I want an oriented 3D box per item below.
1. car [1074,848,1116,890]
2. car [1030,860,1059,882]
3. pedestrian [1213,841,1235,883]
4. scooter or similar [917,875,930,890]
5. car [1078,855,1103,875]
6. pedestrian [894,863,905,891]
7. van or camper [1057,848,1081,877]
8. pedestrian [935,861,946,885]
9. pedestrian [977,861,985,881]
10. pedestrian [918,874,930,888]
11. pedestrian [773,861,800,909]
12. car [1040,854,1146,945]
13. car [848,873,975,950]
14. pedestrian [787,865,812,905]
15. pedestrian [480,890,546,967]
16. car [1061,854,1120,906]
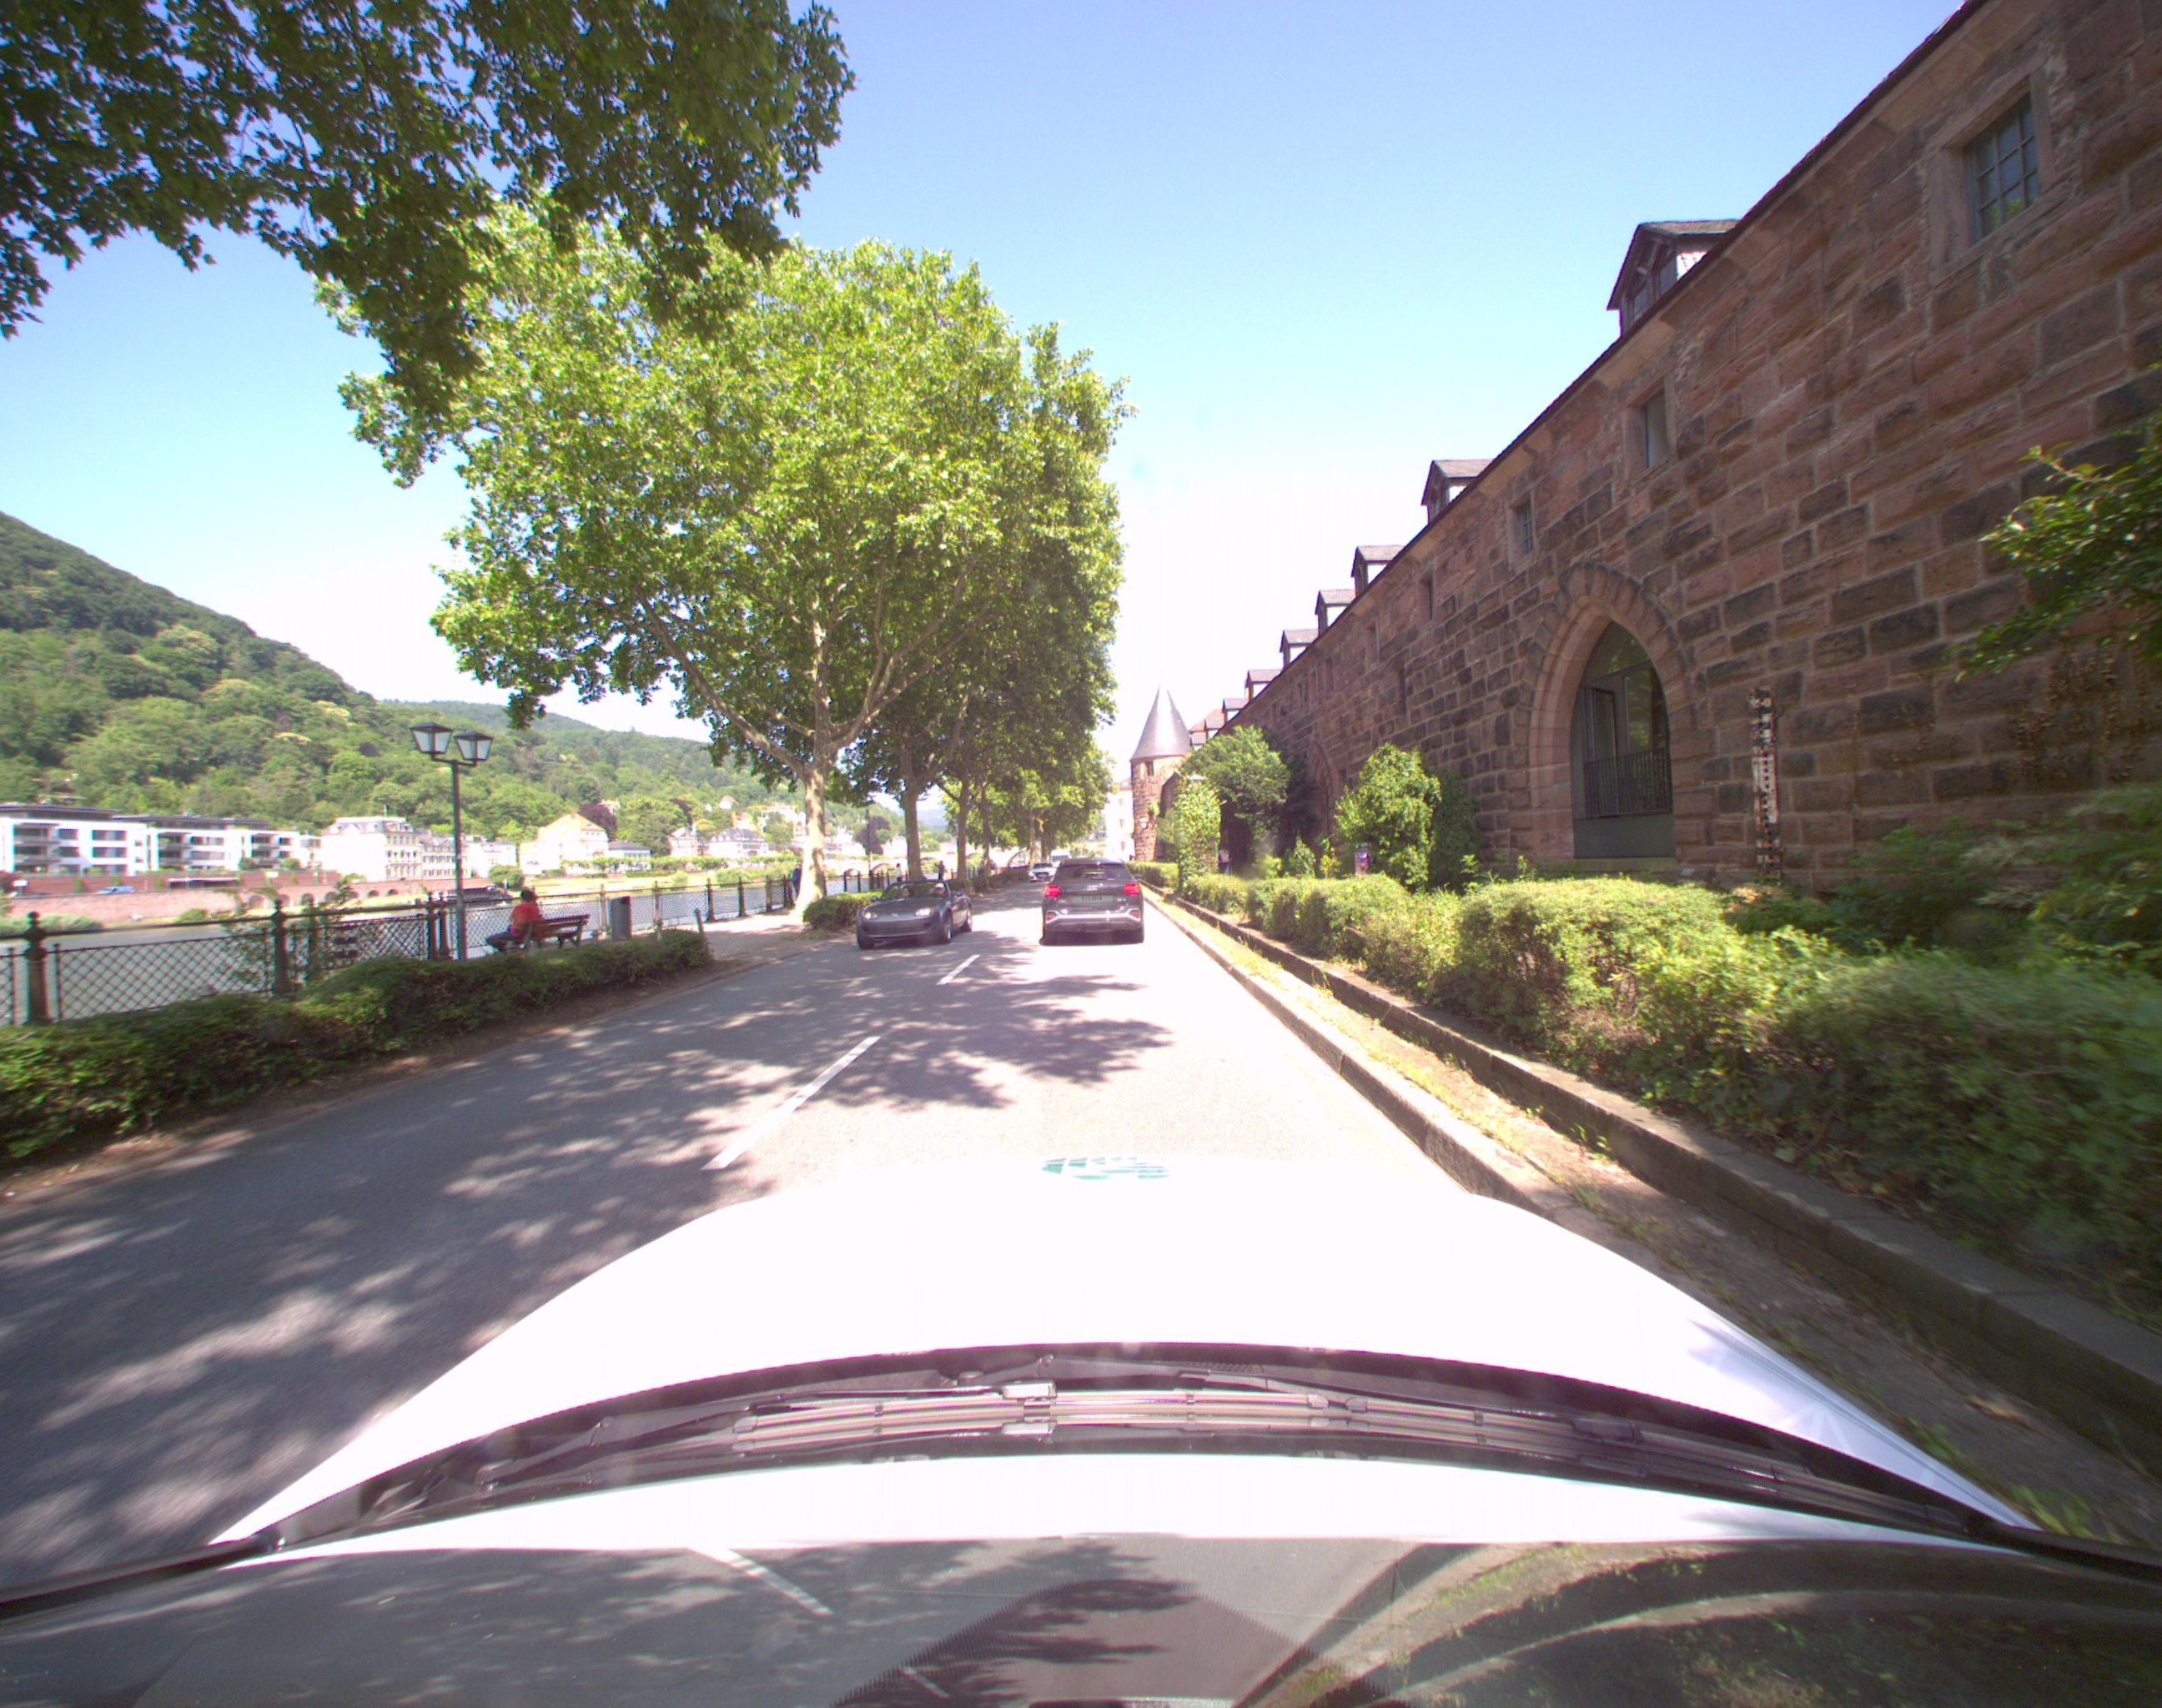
[{"bbox_3d":[0.727,0.775,43.063,1.987,2.013,4.001,-4,0,1],"label":"car"},{"bbox_3d":[-2.611,1.204,58.981,1.764,1.457,4.533,-4,-1,0],"label":"car"},{"bbox_3d":[5.777,0.328,32.871,0.695,1.652,0.705,-3,-1,3],"label":"pedestrian"},{"bbox_3d":[-10.607,1.888,54.898,0.629,0.968,1.012,-2,-1,1],"label":"scooter or similar"},{"bbox_3d":[0.742,0.847,64.377,1.764,1.457,4.533,-4,-1,0],"label":"car"},{"bbox_3d":[-11.386,1.440,51.135,0.582,1.711,0.403,0,-1,-1],"label":"pedestrian"},{"bbox_3d":[-1.094,0.812,77.863,1.954,2.567,5.841,-5,-1,1],"label":"van or camper"},{"bbox_3d":[-9.393,1.283,54.510,0.642,1.618,0.458,0,-1,-1],"label":"pedestrian"},{"bbox_3d":[-8.108,1.355,65.978,0.456,1.554,0.586,-4,-1,1],"label":"pedestrian"},{"bbox_3d":[-10.606,1.828,55.041,0.605,0.884,0.705,-2,0,0],"label":"pedestrian"},{"bbox_3d":[-11.583,1.207,32.044,0.701,1.797,0.705,-3,-1,3],"label":"pedestrian"},{"bbox_3d":[0.205,0.769,15.363,1.742,1.494,3.628,-1,0,0],"label":"car"},{"bbox_3d":[-3.236,1.070,16.207,1.692,1.211,3.486,-4,-1,1],"label":"car"},{"bbox_3d":[-11.458,1.263,33.178,0.701,1.603,0.705,-2,-1,3],"label":"pedestrian"},{"bbox_3d":[-10.047,1.300,14.425,0.700,1.308,0.657,0,-1,1],"label":"pedestrian"},{"bbox_3d":[0.394,0.828,27.886,1.794,1.562,3.718,-4,0,3],"label":"car"}]
